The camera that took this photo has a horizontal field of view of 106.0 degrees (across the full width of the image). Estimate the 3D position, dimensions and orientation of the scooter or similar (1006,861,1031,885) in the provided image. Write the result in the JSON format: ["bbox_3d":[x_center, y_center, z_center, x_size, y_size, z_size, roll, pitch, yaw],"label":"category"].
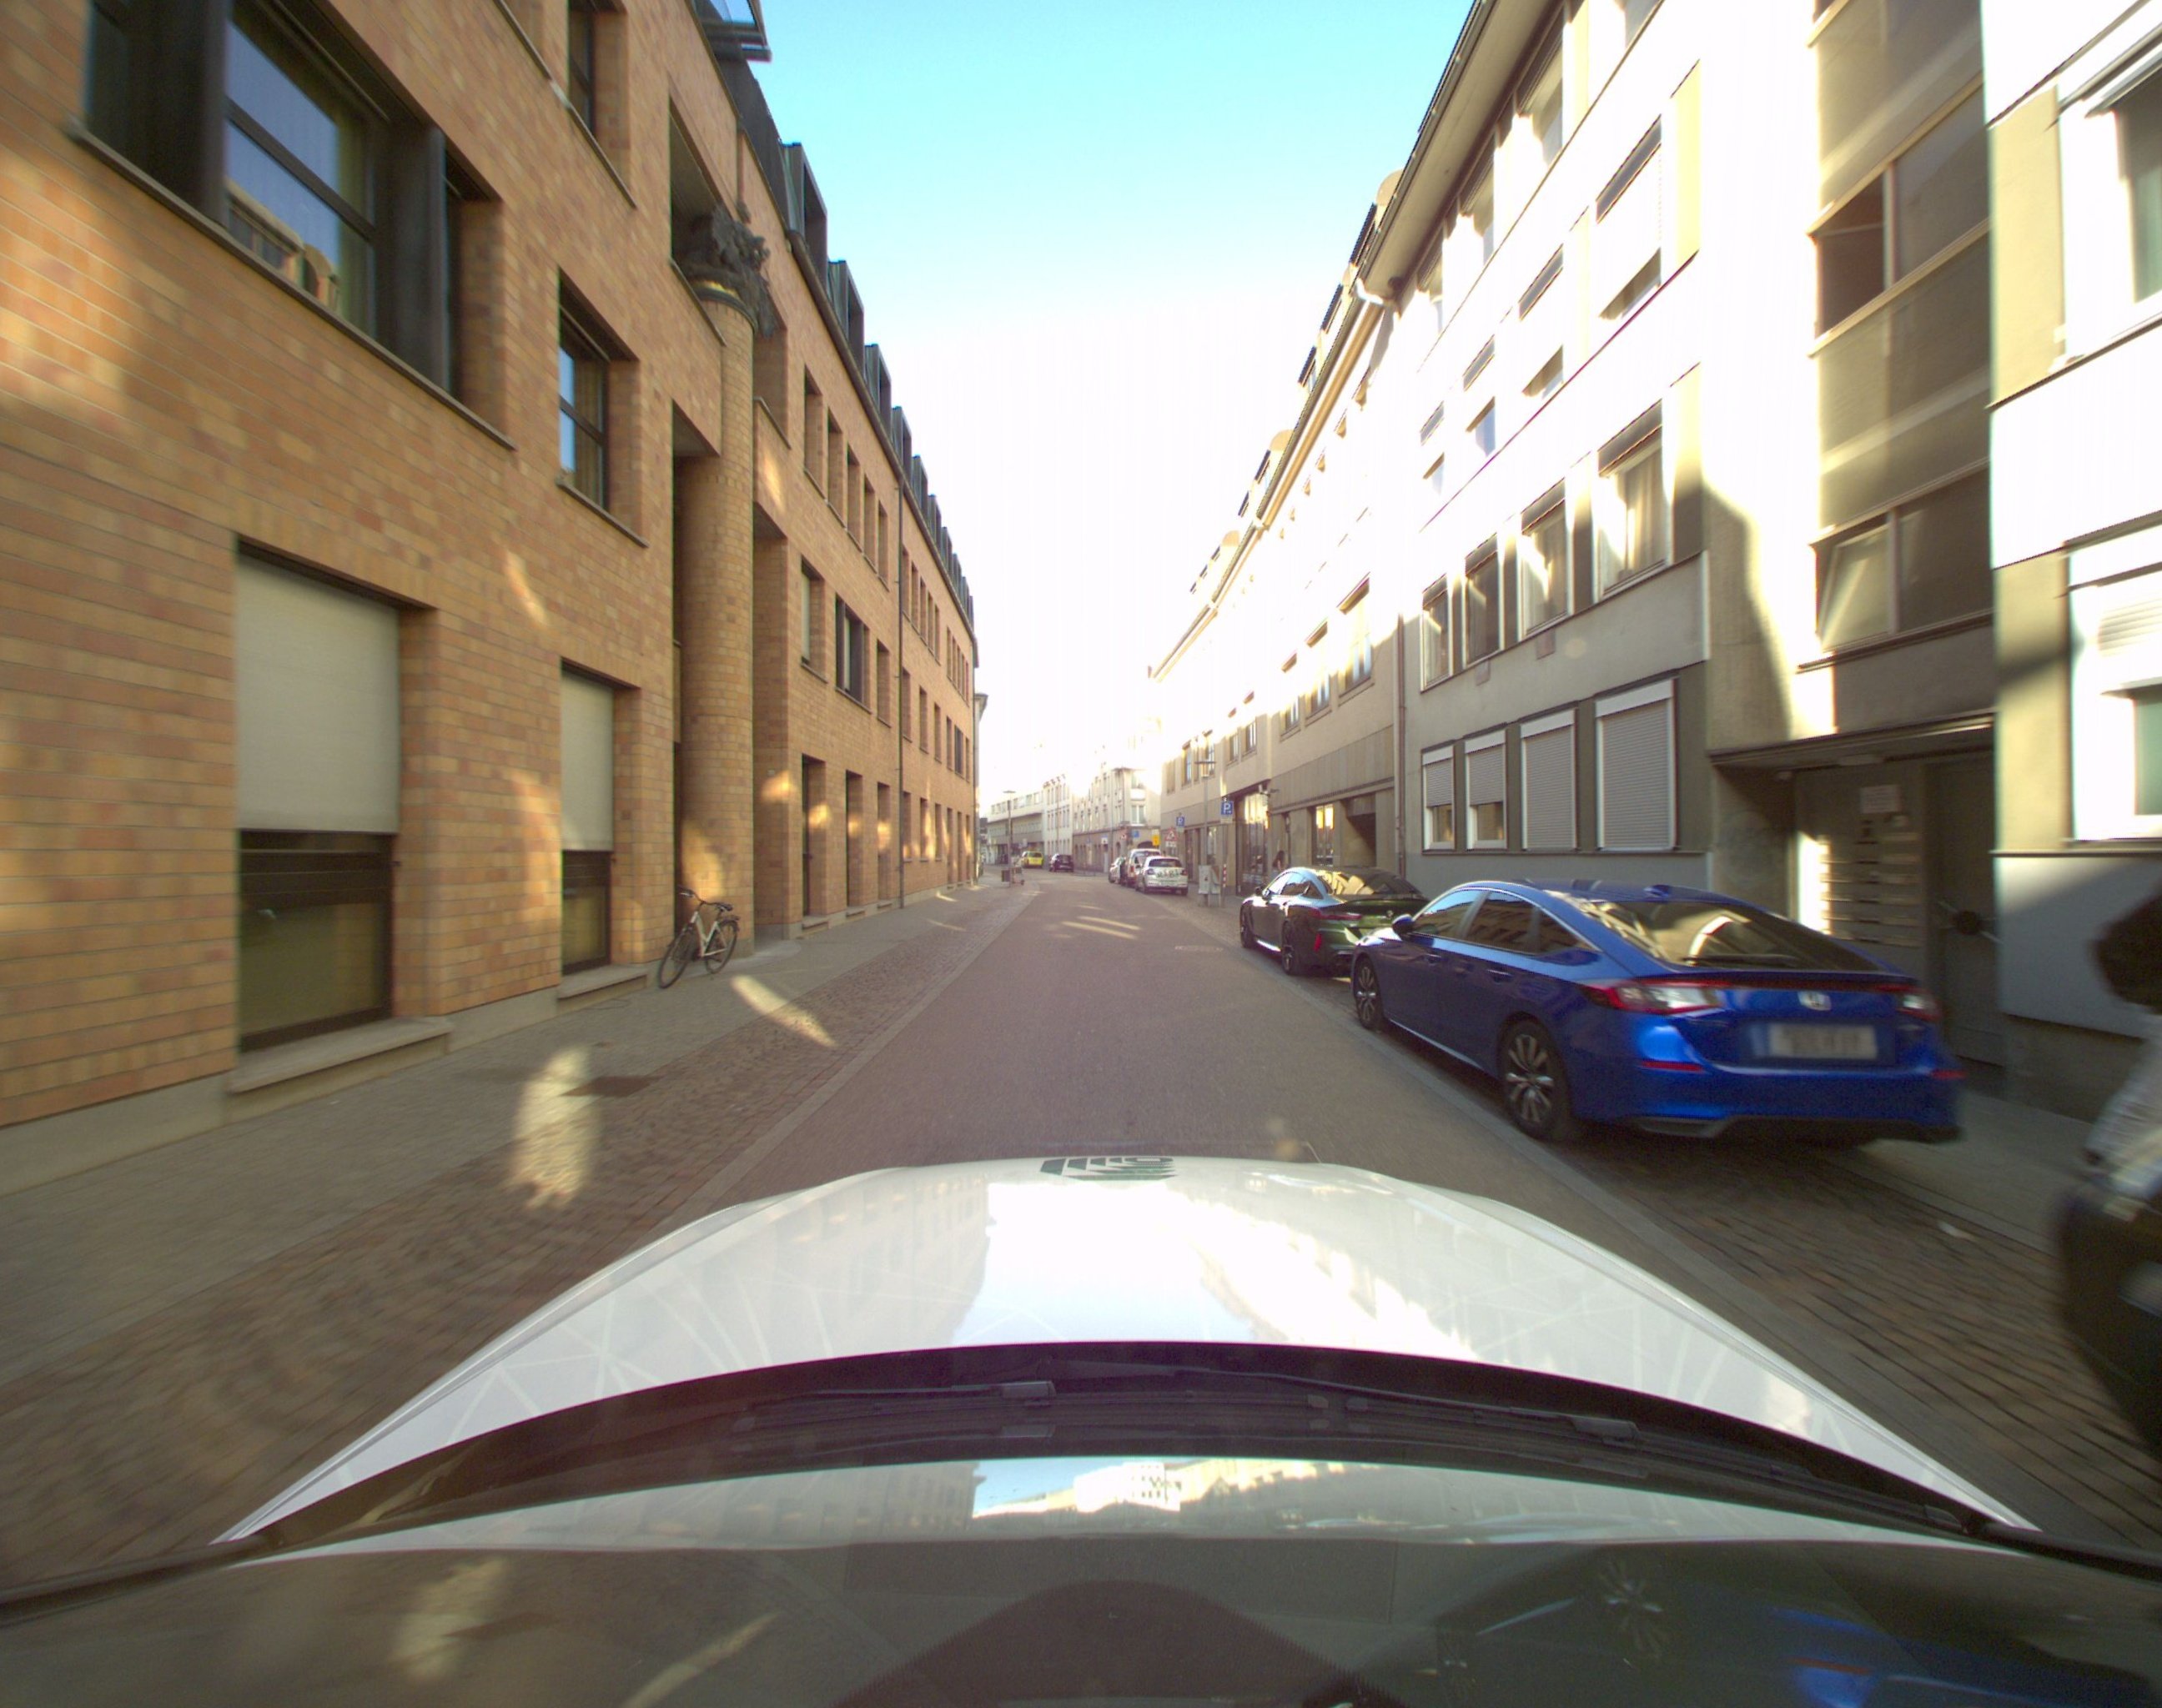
[{"bbox_3d":[-3.322,1.005,43.335,0.691,1.217,1.365,-1,0,24],"label":"scooter or similar"}]

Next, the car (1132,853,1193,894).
[{"bbox_3d":[3.250,0.749,33.182,1.836,1.478,4.163,2,0,-3],"label":"car"}]

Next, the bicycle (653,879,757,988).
[{"bbox_3d":[-4.637,0.939,10.181,0.630,1.162,1.799,2,0,-7],"label":"bicycle"}]

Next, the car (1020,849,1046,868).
[{"bbox_3d":[-5.413,0.476,91.158,2.056,2.013,4.153,-1,0,-15],"label":"car"}]

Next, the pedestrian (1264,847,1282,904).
[{"bbox_3d":[5.750,0.635,24.384,0.477,1.654,0.540,-1,0,12],"label":"pedestrian"}]

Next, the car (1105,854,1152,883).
[{"bbox_3d":[2.613,0.756,45.402,1.887,1.518,4.052,0,0,-8],"label":"car"}]

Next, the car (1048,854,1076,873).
[{"bbox_3d":[-1.780,0.874,75.160,1.968,1.692,4.086,1,0,-11],"label":"car"}]

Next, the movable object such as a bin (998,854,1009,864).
[{"bbox_3d":[-11.158,0.729,116.895,1.135,1.479,1.728,0,0,-19],"label":"movable object such as a bin"}]

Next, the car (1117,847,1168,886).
[{"bbox_3d":[2.891,0.576,39.472,1.826,1.791,5.208,0,0,-3],"label":"car"}]

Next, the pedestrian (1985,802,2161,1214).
[{"bbox_3d":[4.887,0.627,3.643,0.786,1.721,0.747,-3,0,1],"label":"pedestrian"}]

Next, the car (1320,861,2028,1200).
[{"bbox_3d":[3.363,0.814,6.043,1.801,1.412,4.790,1,0,0],"label":"car"}]

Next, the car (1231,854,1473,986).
[{"bbox_3d":[3.559,0.749,11.870,1.887,1.453,5.226,1,0,1],"label":"car"}]

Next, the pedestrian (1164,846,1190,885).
[{"bbox_3d":[4.583,0.541,38.930,1.040,1.801,1.197,-1,-1,-3],"label":"pedestrian"}]

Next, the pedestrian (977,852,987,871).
[{"bbox_3d":[-9.058,0.695,74.560,0.768,1.724,0.683,0,0,-17],"label":"pedestrian"}]
